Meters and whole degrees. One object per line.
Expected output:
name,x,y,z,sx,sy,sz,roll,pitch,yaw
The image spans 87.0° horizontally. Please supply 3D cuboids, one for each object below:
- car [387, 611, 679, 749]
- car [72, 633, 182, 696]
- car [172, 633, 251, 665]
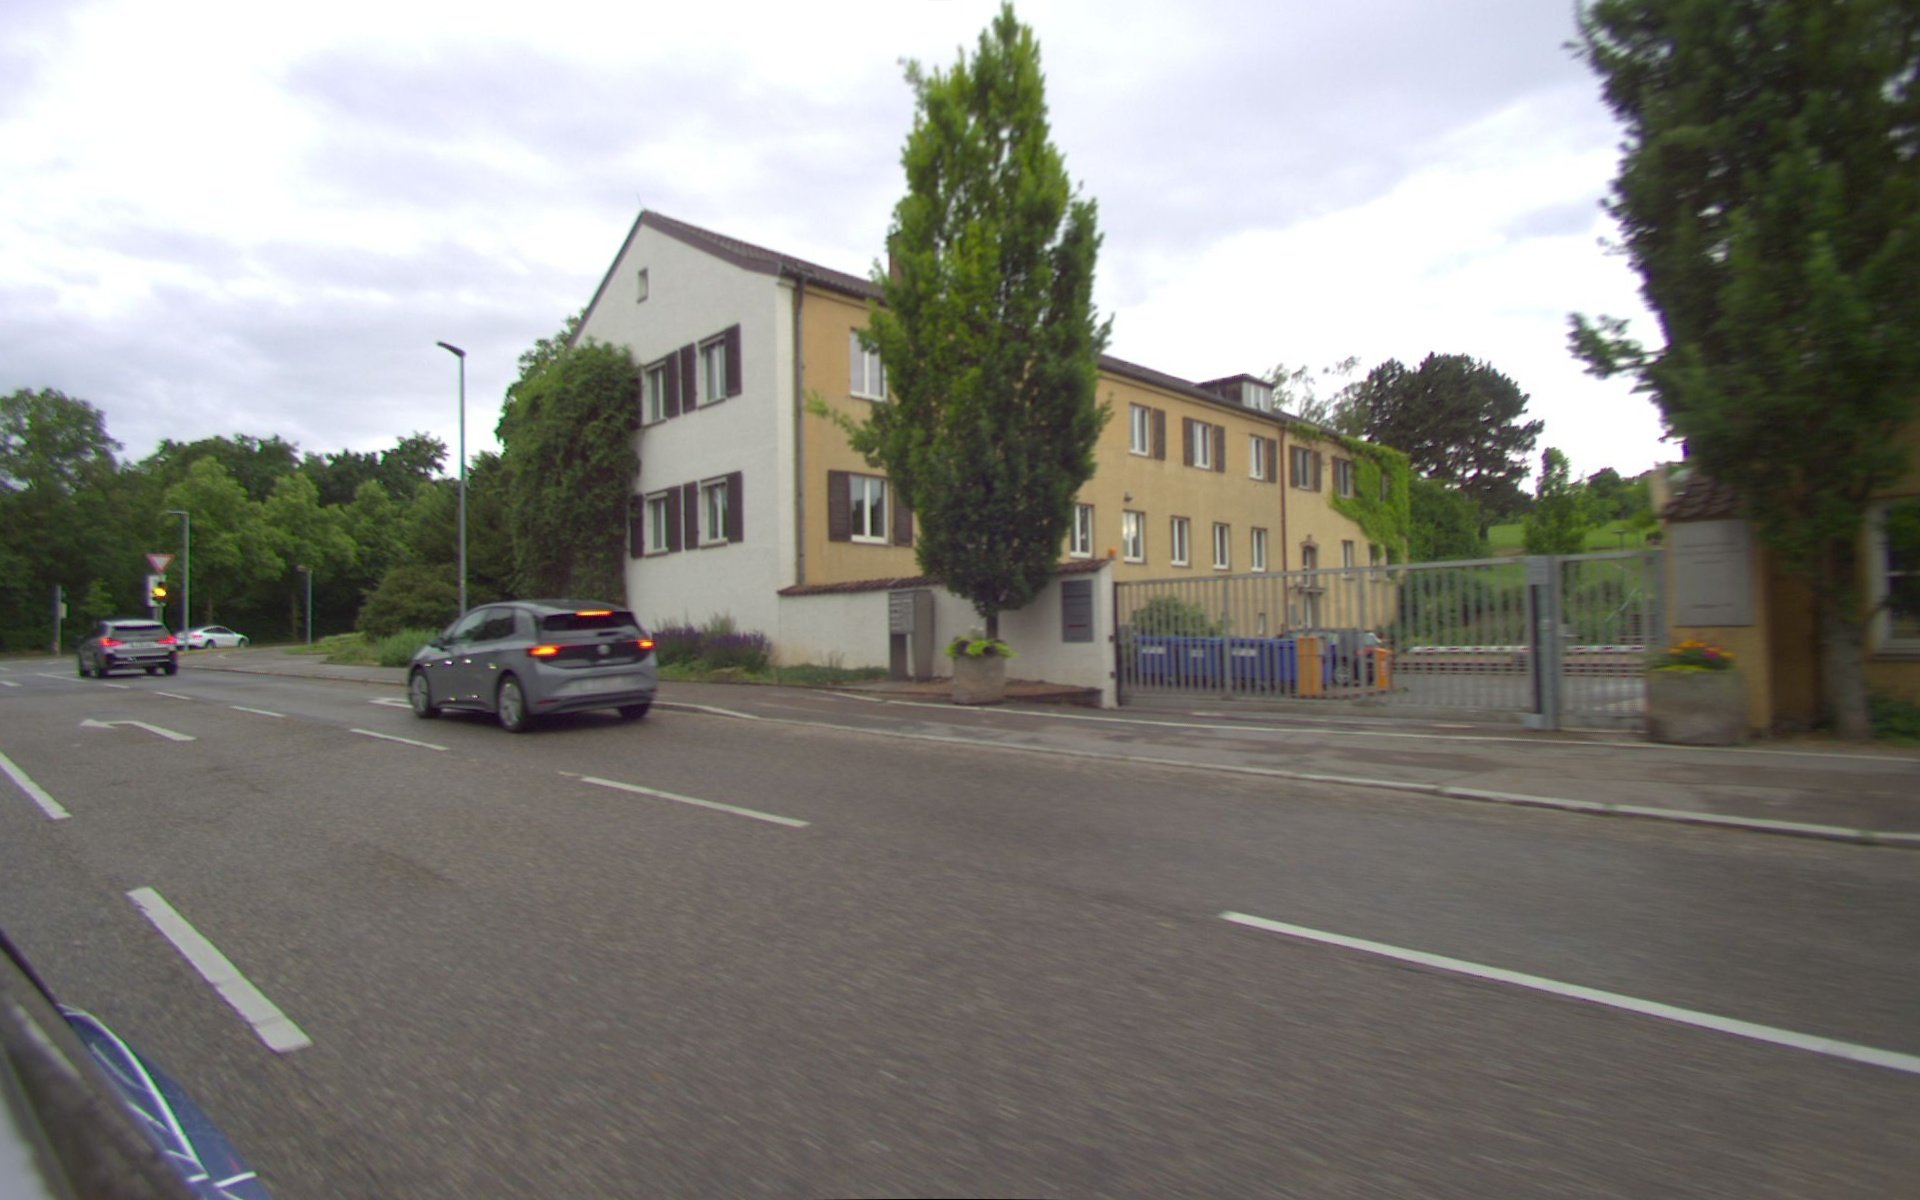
car,-5.752,0.908,13.365,4.469,1.468,1.862,0,0,43
car,-24.339,1.834,29.513,4.344,1.640,1.899,-3,-1,43
car,-48.141,3.105,65.219,1.971,1.778,4.346,-1,0,-2
